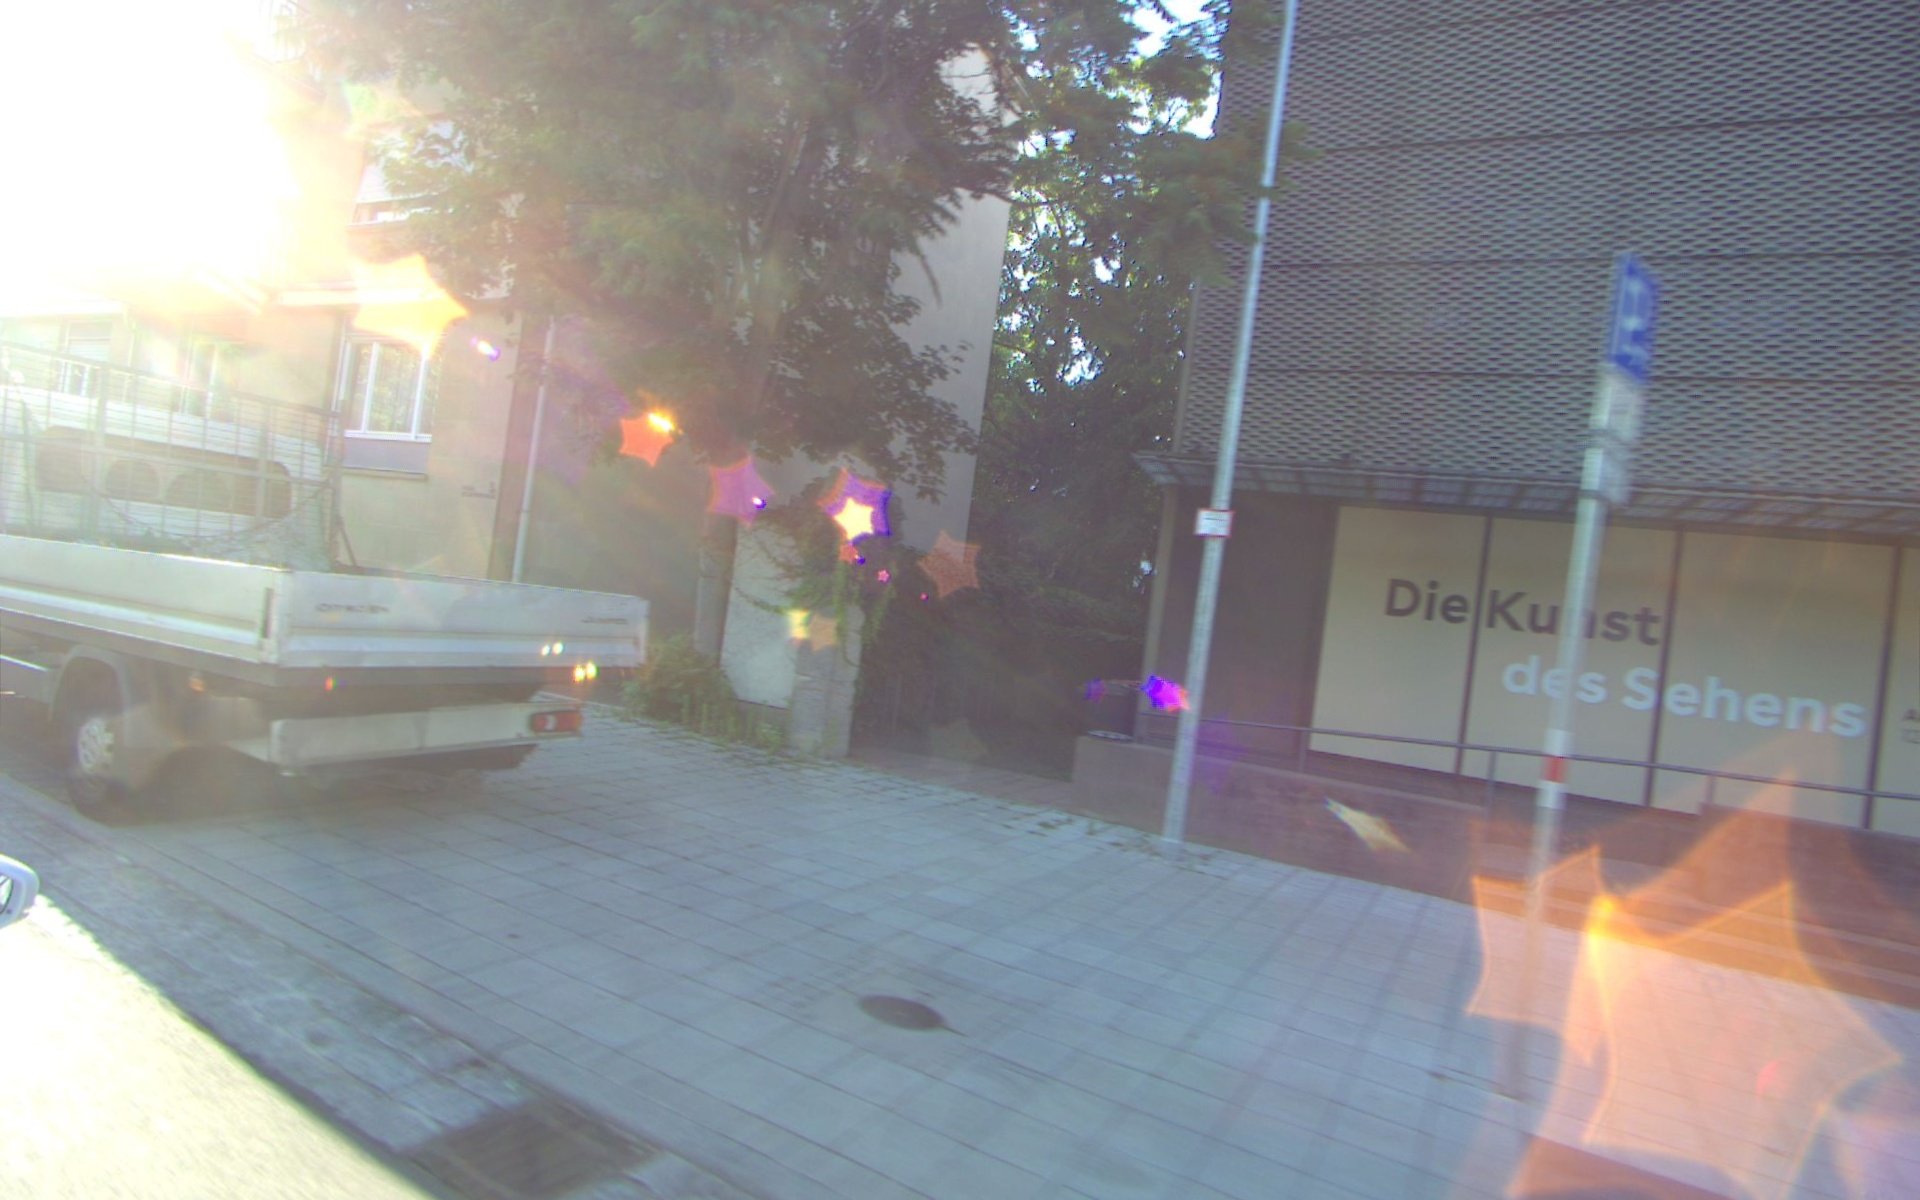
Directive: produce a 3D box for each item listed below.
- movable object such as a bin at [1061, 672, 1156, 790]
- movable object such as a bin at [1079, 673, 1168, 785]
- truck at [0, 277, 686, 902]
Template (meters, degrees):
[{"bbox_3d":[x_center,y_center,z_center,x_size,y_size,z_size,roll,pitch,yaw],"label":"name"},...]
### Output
[{"bbox_3d":[1.643,1.425,11.081,0.755,1.159,0.660,7,-1,24],"label":"movable object such as a bin"},{"bbox_3d":[1.911,1.486,11.710,0.755,1.159,0.660,7,-1,24],"label":"movable object such as a bin"},{"bbox_3d":[-5.235,-0.270,6.721,6.759,2.594,2.134,6,-2,29],"label":"truck"}]
